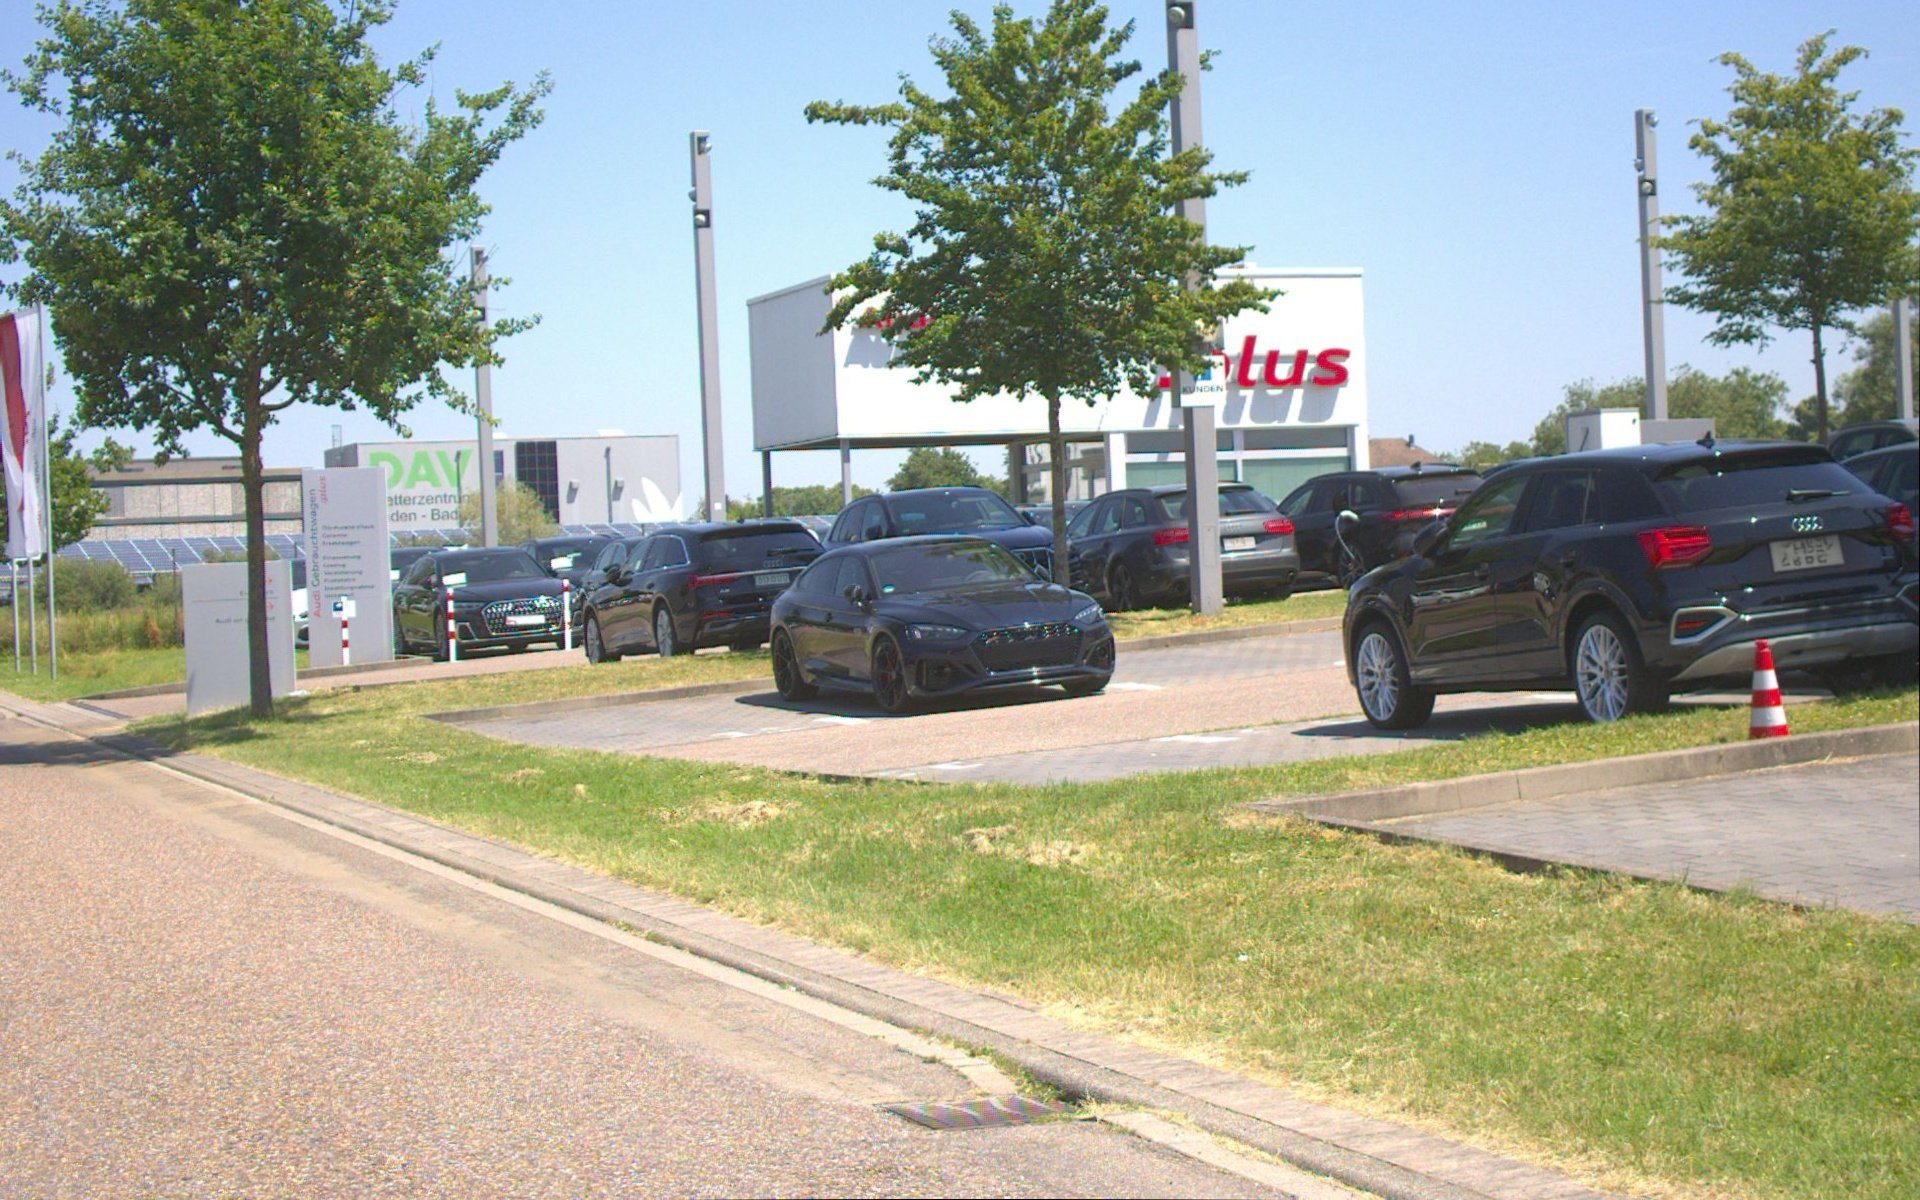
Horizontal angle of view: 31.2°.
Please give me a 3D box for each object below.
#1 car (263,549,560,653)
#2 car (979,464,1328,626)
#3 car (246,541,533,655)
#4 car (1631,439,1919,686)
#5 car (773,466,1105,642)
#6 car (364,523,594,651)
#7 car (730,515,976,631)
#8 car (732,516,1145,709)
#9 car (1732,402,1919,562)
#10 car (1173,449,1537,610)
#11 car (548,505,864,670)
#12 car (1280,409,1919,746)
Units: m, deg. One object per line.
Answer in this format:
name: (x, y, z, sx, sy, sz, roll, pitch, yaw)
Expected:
car: (-9.225, 0.013, 57.778, 4.527, 1.452, 2.032, -4, 1, -22)
car: (2.046, -0.566, 38.089, 1.961, 1.452, 4.987, -4, -1, -20)
car: (-10.011, -0.035, 60.300, 4.527, 1.687, 2.032, -4, 1, -22)
car: (5.969, -0.280, 20.125, 1.961, 1.362, 4.228, -5, 2, -21)
car: (-0.327, -0.448, 37.529, 1.961, 1.592, 4.987, -4, -1, -20)
car: (-6.725, -0.173, 47.575, 2.024, 1.509, 5.240, -5, 2, -20)
car: (-1.633, -0.371, 50.154, 2.024, 1.451, 5.079, -5, 2, -20)
car: (-0.293, 0.051, 29.515, 1.961, 1.361, 4.722, -5, 3, -20)
car: (11.202, -1.413, 39.757, 1.961, 1.615, 4.987, -4, -1, -20)
car: (4.338, -0.745, 38.699, 1.961, 1.452, 4.987, -4, -1, -20)
car: (-2.777, -0.080, 36.385, 1.961, 1.452, 4.987, -4, -1, -20)
car: (3.649, -0.133, 19.315, 1.887, 1.566, 4.228, -5, 2, -21)
